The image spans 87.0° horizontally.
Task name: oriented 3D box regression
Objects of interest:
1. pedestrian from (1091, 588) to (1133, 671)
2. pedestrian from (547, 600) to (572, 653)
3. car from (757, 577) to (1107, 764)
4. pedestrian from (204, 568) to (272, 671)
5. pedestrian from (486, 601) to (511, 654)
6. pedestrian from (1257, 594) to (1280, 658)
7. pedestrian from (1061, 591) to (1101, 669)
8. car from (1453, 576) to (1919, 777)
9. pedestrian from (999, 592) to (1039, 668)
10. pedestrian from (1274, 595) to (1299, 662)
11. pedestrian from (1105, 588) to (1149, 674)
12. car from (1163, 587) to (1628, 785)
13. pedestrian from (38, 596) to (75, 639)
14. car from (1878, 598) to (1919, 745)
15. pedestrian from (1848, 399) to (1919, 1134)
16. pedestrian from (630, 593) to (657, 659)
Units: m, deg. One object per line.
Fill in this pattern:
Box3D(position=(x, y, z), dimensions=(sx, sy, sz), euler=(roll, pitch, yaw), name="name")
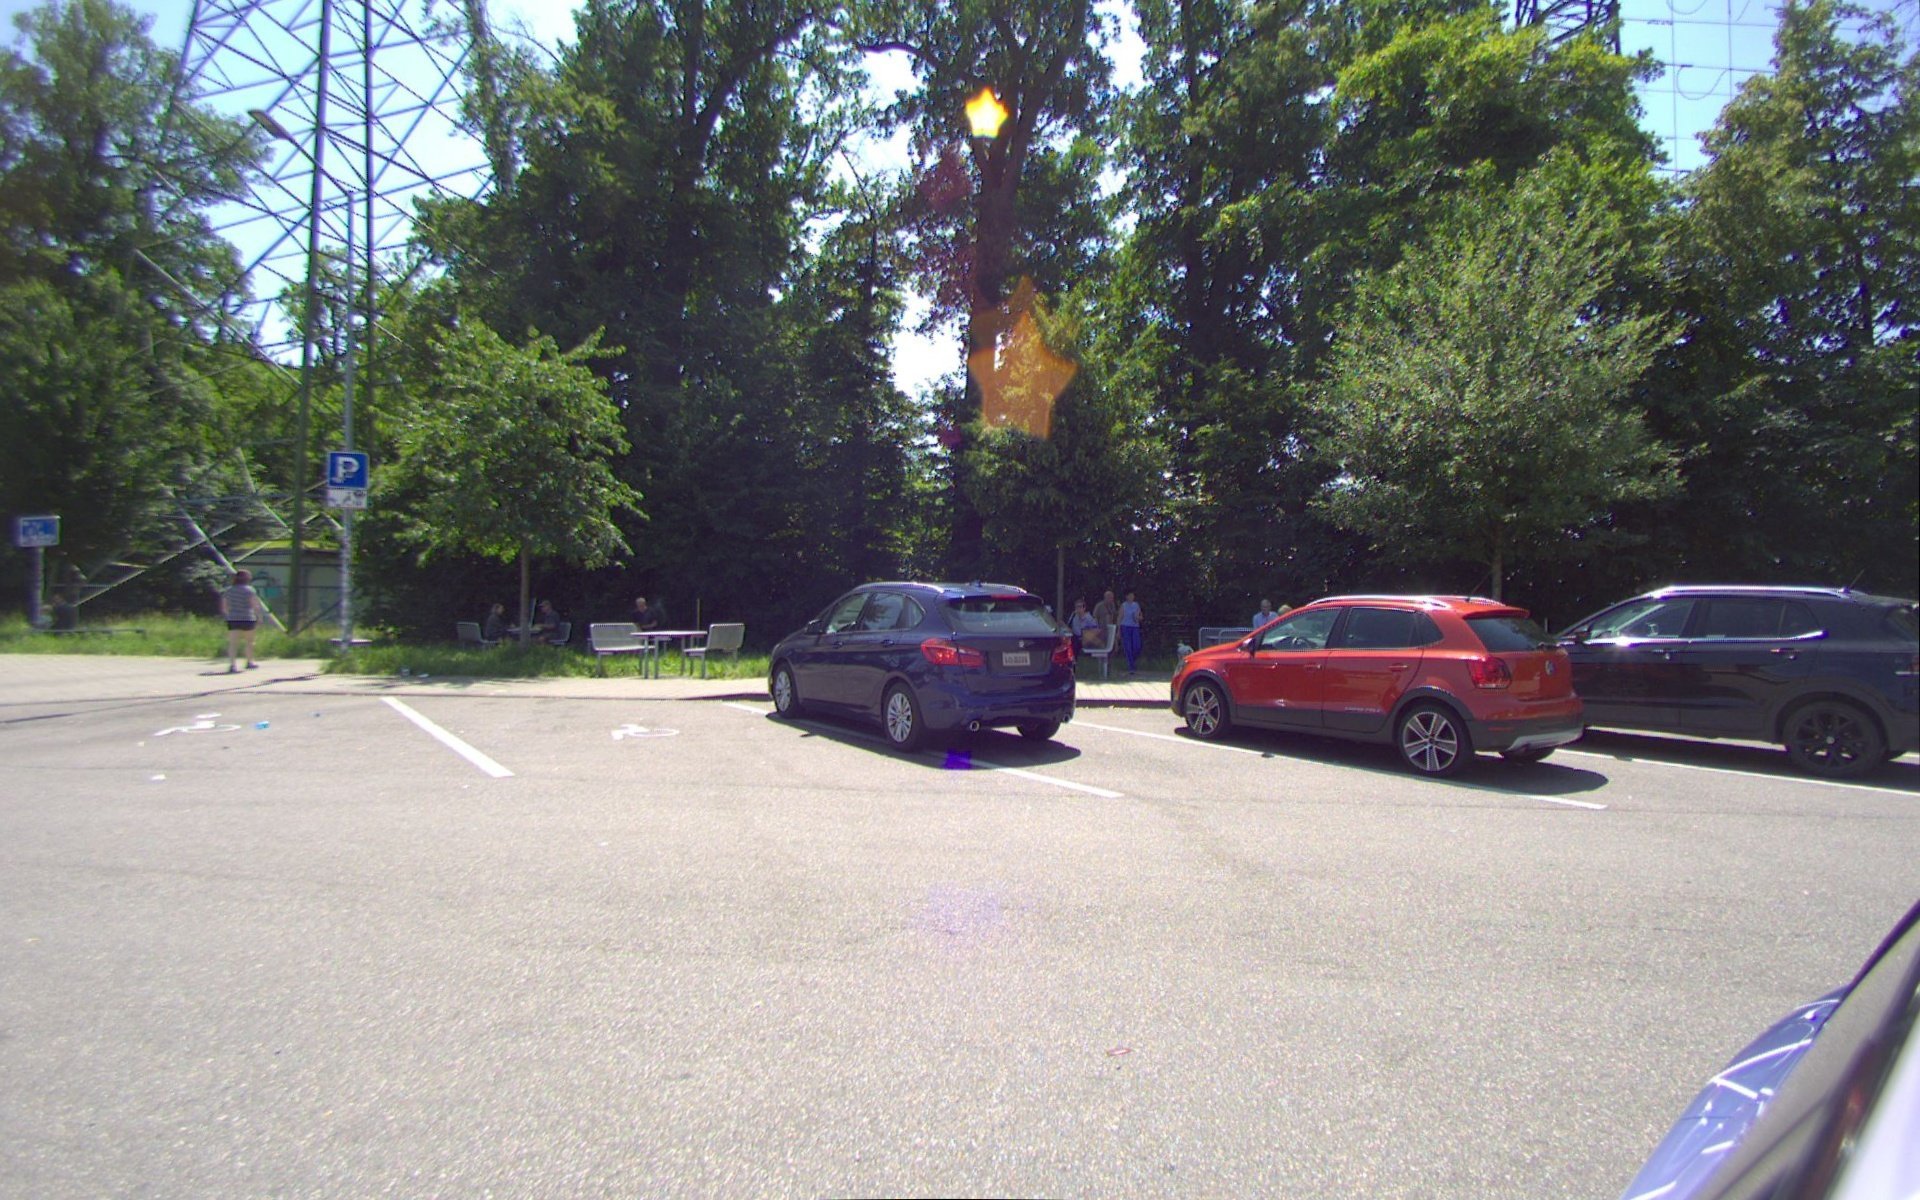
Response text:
Box3D(position=(3.042, 0.571, 20.305), dimensions=(0.634, 1.625, 0.573), euler=(0, 0, -19), name="pedestrian")
Box3D(position=(-9.334, 0.611, 23.601), dimensions=(0.452, 1.209, 0.447), euler=(0, 0, -34), name="pedestrian")
Box3D(position=(-0.531, 0.546, 10.789), dimensions=(1.714, 1.572, 4.347), euler=(0, 1, -33), name="car")
Box3D(position=(-11.961, 0.313, 16.783), dimensions=(0.673, 1.670, 0.716), euler=(0, 0, -9), name="pedestrian")
Box3D(position=(-10.422, 0.610, 22.860), dimensions=(0.452, 1.182, 0.447), euler=(0, 0, -34), name="pedestrian")
Box3D(position=(5.830, 0.487, 19.125), dimensions=(0.350, 1.180, 0.384), euler=(0, 0, 8), name="pedestrian")
Box3D(position=(2.013, 0.489, 16.857), dimensions=(0.586, 1.261, 0.498), euler=(0, 0, 16), name="pedestrian")
Box3D(position=(7.106, 0.587, 9.864), dimensions=(1.620, 1.575, 3.826), euler=(0, 0, -37), name="car")
Box3D(position=(1.000, 0.492, 17.113), dimensions=(0.586, 1.261, 0.445), euler=(0, 0, 16), name="pedestrian")
Box3D(position=(5.781, 0.499, 17.950), dimensions=(0.350, 1.180, 0.384), euler=(0, 0, 8), name="pedestrian")
Box3D(position=(3.195, 0.580, 19.372), dimensions=(0.634, 1.625, 0.573), euler=(0, 0, -19), name="pedestrian")
Box3D(position=(3.890, 0.629, 9.649), dimensions=(1.619, 1.487, 3.830), euler=(0, 0, -33), name="car")
Box3D(position=(-20.940, 0.394, 23.462), dimensions=(0.452, 0.987, 0.447), euler=(0, 0, -2), name="pedestrian")
Box3D(position=(10.906, 0.697, 9.009), dimensions=(1.620, 1.420, 3.826), euler=(0, 0, -37), name="car")
Box3D(position=(2.966, 0.449, 2.456), dimensions=(0.799, 1.974, 0.920), euler=(0, 0, 2), name="pedestrian")
Box3D(position=(-6.675, 0.542, 21.348), dimensions=(0.438, 1.363, 0.462), euler=(0, 0, -5), name="pedestrian")
